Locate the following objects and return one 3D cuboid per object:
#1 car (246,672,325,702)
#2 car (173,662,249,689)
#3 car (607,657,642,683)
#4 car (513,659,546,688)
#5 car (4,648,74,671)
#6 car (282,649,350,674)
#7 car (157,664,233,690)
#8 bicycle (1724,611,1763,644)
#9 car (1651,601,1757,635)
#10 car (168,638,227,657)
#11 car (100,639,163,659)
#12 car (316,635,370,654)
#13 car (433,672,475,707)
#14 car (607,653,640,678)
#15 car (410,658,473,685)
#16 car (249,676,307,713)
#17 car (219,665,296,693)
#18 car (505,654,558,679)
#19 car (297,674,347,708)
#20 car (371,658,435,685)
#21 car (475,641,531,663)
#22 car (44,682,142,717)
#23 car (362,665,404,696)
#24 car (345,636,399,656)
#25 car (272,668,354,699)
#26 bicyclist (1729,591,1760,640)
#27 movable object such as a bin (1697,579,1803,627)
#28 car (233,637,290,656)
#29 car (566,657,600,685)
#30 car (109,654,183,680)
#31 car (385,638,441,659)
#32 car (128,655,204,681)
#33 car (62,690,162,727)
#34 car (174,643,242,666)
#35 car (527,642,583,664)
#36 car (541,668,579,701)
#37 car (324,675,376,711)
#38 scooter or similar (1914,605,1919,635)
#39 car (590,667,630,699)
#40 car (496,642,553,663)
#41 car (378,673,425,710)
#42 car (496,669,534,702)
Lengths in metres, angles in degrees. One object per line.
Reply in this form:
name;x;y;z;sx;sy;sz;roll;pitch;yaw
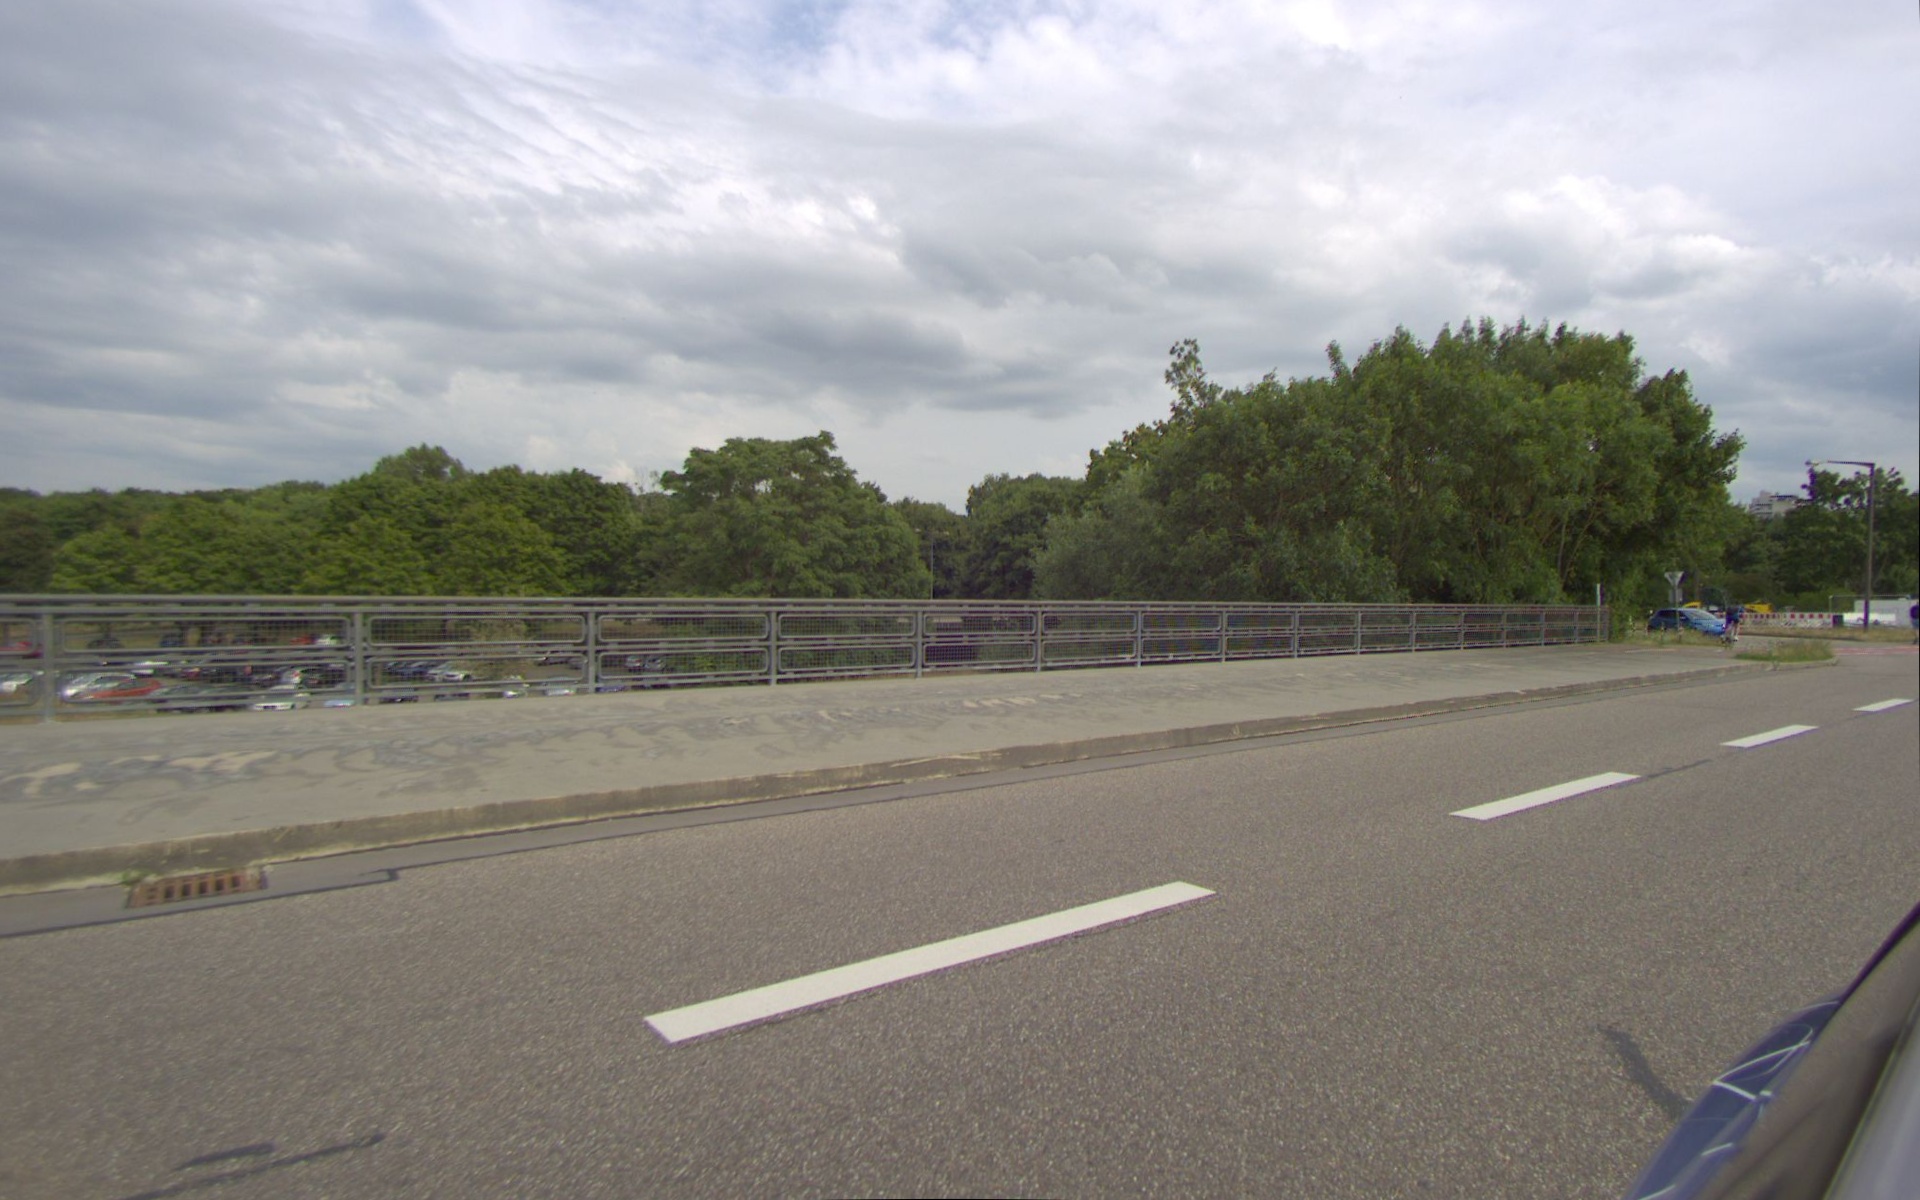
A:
car;-44.687;5.715;67.132;1.984;1.594;3.956;0;0;31
car;-53.428;5.356;72.232;1.984;1.594;3.956;0;0;31
car;-23.957;4.971;72.257;1.958;1.594;4.007;0;0;-24
car;-29.320;4.980;68.928;1.958;1.594;4.007;0;0;-24
car;-77.474;4.983;85.186;1.984;1.594;3.956;0;0;31
car;-49.589;4.724;77.953;1.984;1.594;3.956;0;0;31
car;-55.551;5.572;73.556;1.984;1.594;3.956;0;0;31
bicycle;27.262;0.949;35.200;1.939;1.034;0.578;4;2;-38
car;35.922;0.858;48.982;1.841;1.537;4.006;0;0;-8
car;-70.767;4.376;93.974;1.984;1.594;3.956;0;0;31
car;-74.651;4.385;91.226;1.984;1.594;3.956;0;0;31
car;-58.827;4.254;96.533;1.983;1.594;3.957;0;0;30
car;-28.713;5.050;57.513;1.958;1.594;4.007;0;0;-24
car;-25.462;4.940;76.470;1.958;1.594;4.007;0;0;-24
car;-36.204;4.984;70.791;1.967;1.594;3.990;0;0;9
car;-36.758;5.052;54.621;1.958;1.594;4.007;0;0;-24
car;-48.669;5.435;70.191;1.984;1.594;3.956;0;0;31
car;-32.476;4.999;76.842;1.967;1.594;3.990;0;0;9
car;-37.596;5.325;59.755;1.958;1.594;4.007;0;0;-24
car;-38.896;4.979;70.762;1.967;1.594;3.990;0;0;9
car;-38.663;4.367;85.664;1.983;1.594;3.957;0;0;30
car;-50.533;5.767;59.052;1.984;1.594;3.956;0;0;31
car;-36.750;5.096;64.559;1.958;1.594;4.007;0;0;-24
car;-54.801;4.278;94.401;1.983;1.594;3.957;0;0;30
car;-41.185;5.286;64.482;1.984;1.594;3.956;0;0;31
bicyclist;27.263;0.541;35.182;0.790;1.681;0.666;4;-3;-38
movable object such as a bin;46.694;0.147;59.923;2.061;2.723;4.518;0;0;-33
car;-66.200;4.374;95.965;1.984;1.594;3.956;0;0;31
car;-26.561;4.972;71.181;1.958;1.594;4.007;0;0;-24
car;-60.952;4.996;75.843;1.984;1.594;3.956;0;0;31
car;-48.928;4.316;90.604;1.983;1.594;3.957;0;0;30
car;-58.602;5.009;74.752;1.984;1.594;3.956;0;0;31
car;-48.289;6.151;57.701;1.984;1.594;3.956;0;0;31
car;-59.993;4.325;80.822;1.984;1.594;3.956;0;0;31
car;-33.566;4.393;83.989;1.983;1.594;3.957;0;0;30
car;-24.060;5.048;60.822;1.958;1.594;4.007;0;0;-24
car;-33.371;5.054;55.428;1.958;1.594;4.007;0;0;-24
scooter or similar;39.962;0.826;41.506;1.178;1.240;0.591;0;0;-10
car;-21.459;5.046;61.975;1.958;1.594;4.007;0;0;-24
car;-36.467;4.378;84.833;1.983;1.594;3.957;0;0;30
car;-31.025;5.055;56.284;1.958;1.594;4.007;0;0;-24
car;-26.431;5.043;60.055;1.958;1.594;4.007;0;0;-24
